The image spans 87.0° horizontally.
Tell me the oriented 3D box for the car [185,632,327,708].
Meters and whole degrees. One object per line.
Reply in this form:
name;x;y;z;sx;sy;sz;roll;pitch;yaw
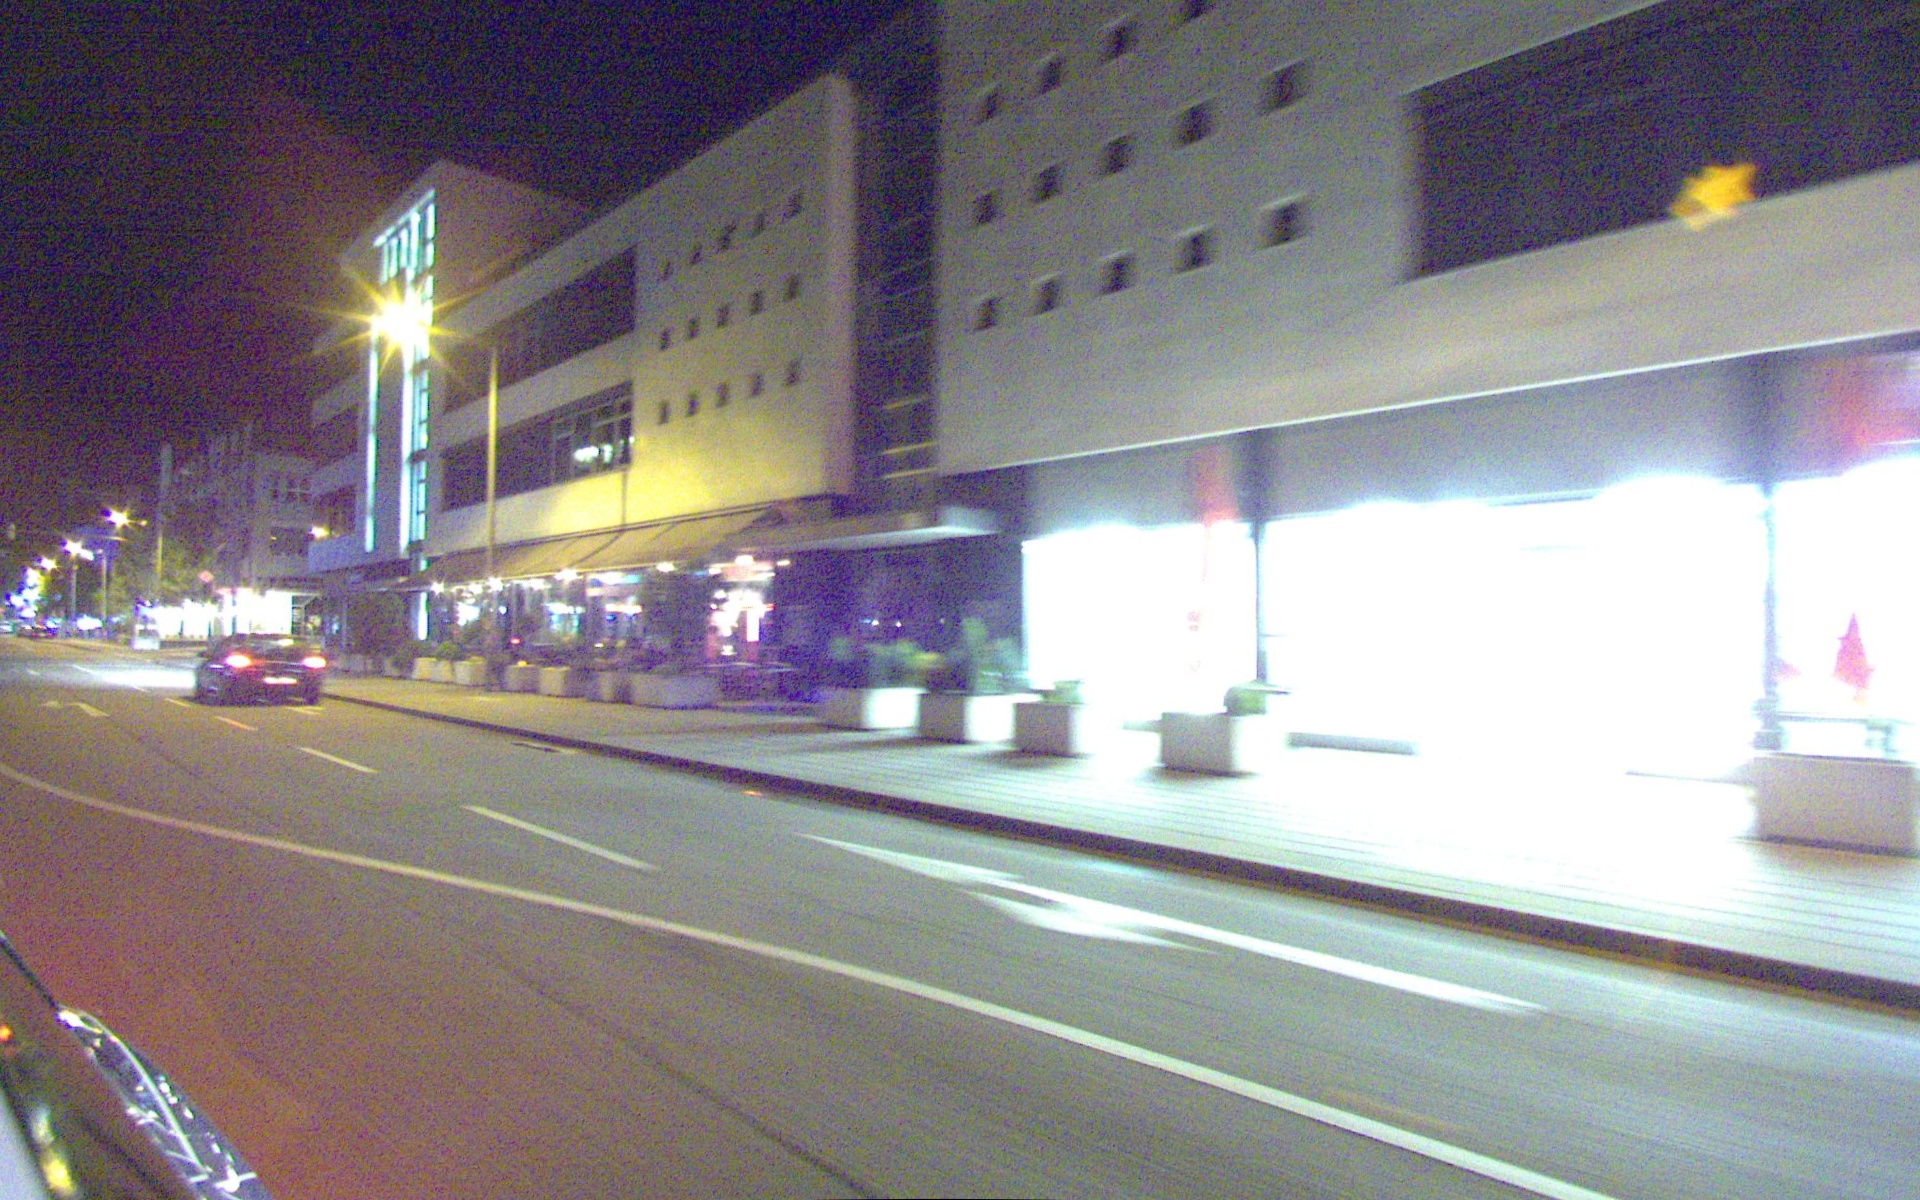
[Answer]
car;-14.846;1.432;21.270;4.001;1.439;1.648;-1;-5;44
